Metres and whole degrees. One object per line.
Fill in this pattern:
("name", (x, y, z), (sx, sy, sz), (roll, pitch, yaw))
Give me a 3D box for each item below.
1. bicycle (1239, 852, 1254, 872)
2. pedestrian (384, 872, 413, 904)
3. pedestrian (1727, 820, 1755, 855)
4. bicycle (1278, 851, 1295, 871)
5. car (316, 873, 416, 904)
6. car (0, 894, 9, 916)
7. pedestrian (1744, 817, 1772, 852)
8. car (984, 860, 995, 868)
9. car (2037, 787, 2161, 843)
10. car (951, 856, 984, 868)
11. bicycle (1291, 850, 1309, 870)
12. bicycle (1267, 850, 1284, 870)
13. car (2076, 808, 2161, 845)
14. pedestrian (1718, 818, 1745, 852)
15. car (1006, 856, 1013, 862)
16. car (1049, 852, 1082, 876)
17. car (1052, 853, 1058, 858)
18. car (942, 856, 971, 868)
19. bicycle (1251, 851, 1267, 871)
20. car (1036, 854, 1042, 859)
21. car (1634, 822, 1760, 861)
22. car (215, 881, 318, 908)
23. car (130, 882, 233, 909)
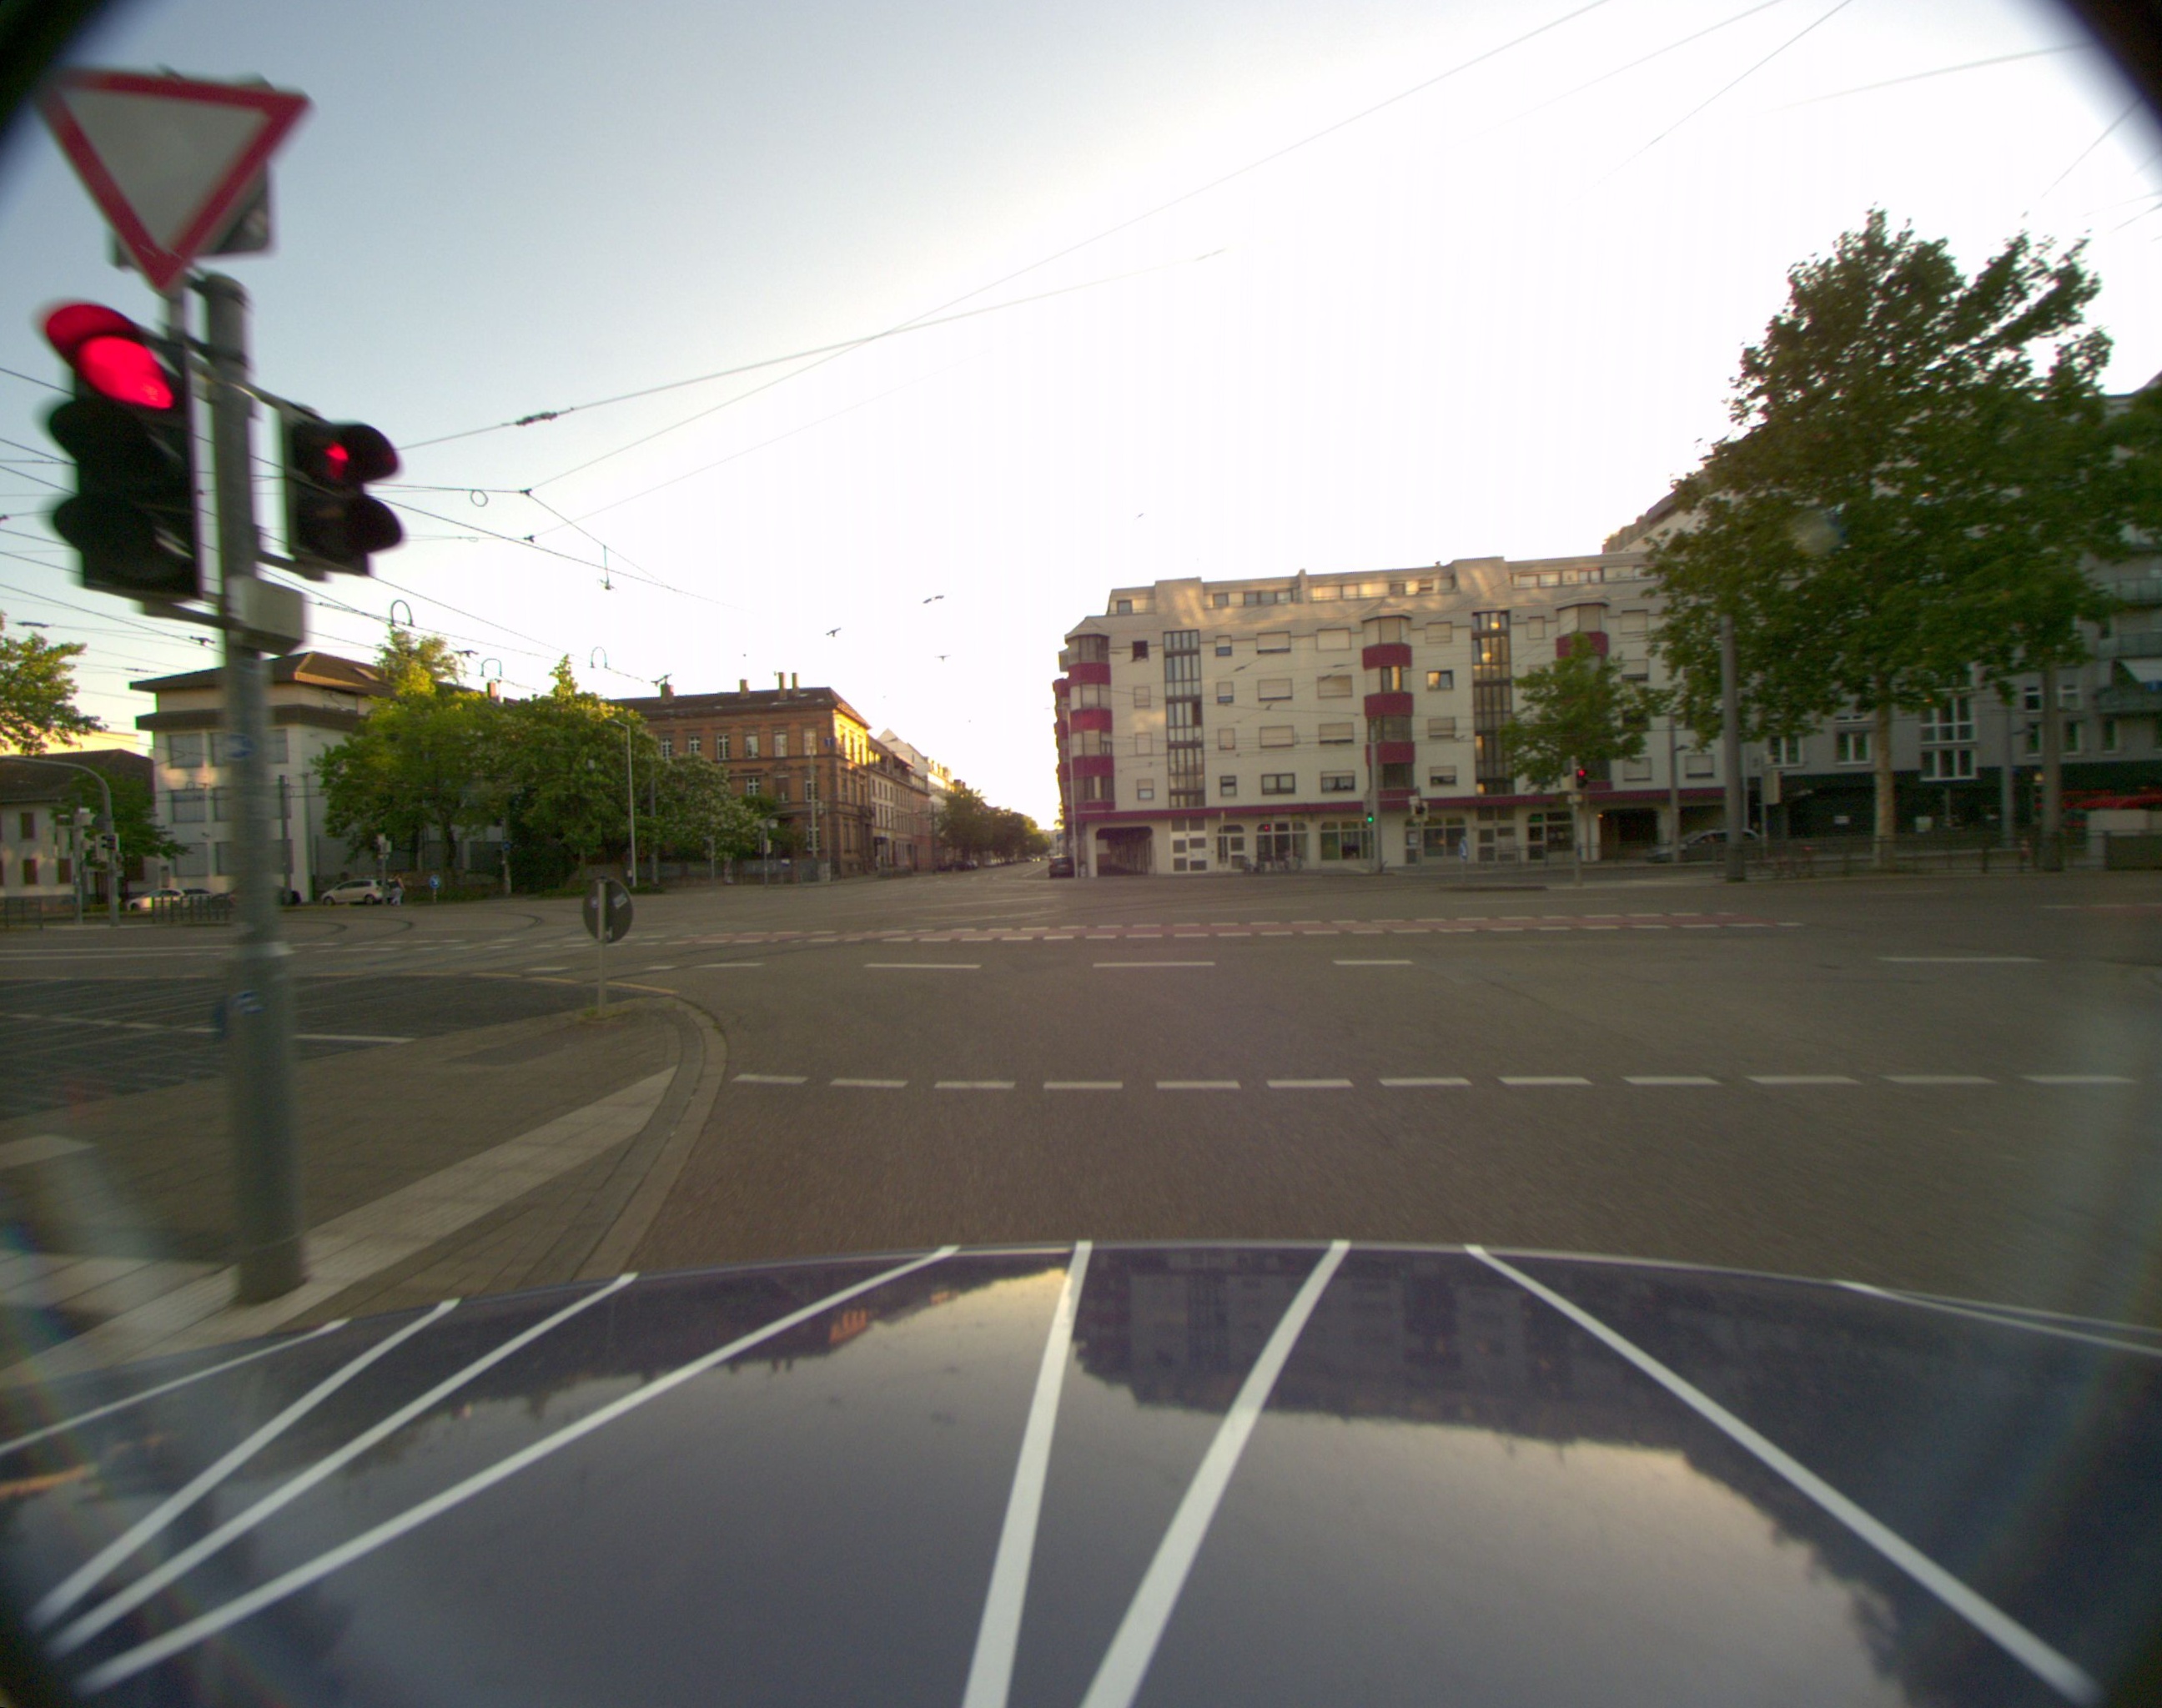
("bicycle", (8.927, 0.395, 41.046), (0.515, 1.040, 1.903), (-2, 0, 4))
("pedestrian", (-33.649, 1.678, 37.476), (0.579, 1.517, 0.818), (-2, 1, 11))
("pedestrian", (34.512, -0.864, 39.738), (0.834, 1.796, 0.692), (-2, 1, 8))
("bicycle", (11.058, 0.354, 40.903), (0.515, 1.040, 1.903), (-2, 0, 4))
("car", (-43.218, 2.074, 45.993), (4.227, 1.623, 2.000), (-2, 0, 4))
("car", (-72.215, 3.390, 48.748), (4.227, 1.416, 2.001), (-2, 0, 4))
("pedestrian", (35.699, -1.037, 40.051), (0.834, 1.796, 0.692), (-2, 1, 8))
("car", (-16.665, 1.790, 138.163), (1.786, 1.448, 4.295), (-2, 0, -5))
("car", (50.147, -1.879, 36.698), (5.075, 2.526, 1.852), (-2, 1, 8))
("car", (-16.986, 1.183, 113.958), (4.704, 1.477, 1.906), (-2, 0, -5))
("bicycle", (11.685, 0.301, 40.595), (0.515, 1.040, 1.903), (-2, 0, 4))
("bicycle", (10.464, 0.321, 40.997), (0.515, 1.040, 1.903), (-2, 0, 4))
("car", (48.691, -1.260, 34.616), (4.097, 1.587, 1.667), (-2, 0, 7))
("pedestrian", (34.723, -1.002, 40.551), (0.834, 1.796, 0.692), (-2, 1, 8))
("car", (-17.278, 1.226, 183.686), (1.786, 1.427, 4.295), (-2, 0, -5))
("car", (-1.018, 0.651, 52.226), (2.006, 1.448, 4.297), (-2, 0, 2))
("car", (-8.003, 0.312, 231.486), (1.786, 1.448, 4.296), (-2, 0, -3))
("car", (-17.393, 1.137, 106.319), (3.773, 1.477, 1.906), (-2, 0, -5))
("bicycle", (9.574, 0.366, 41.008), (0.515, 1.040, 1.903), (-2, 0, 4))
("car", (-13.165, 0.812, 237.020), (1.786, 1.448, 4.296), (-2, 0, -2))
("car", (27.533, -0.549, 34.076), (4.097, 1.587, 1.667), (-2, 0, 7))
("car", (-50.156, 2.484, 46.845), (4.355, 1.416, 2.001), (-2, 0, 4))
("car", (-55.765, 2.560, 47.153), (4.227, 1.416, 2.001), (-2, 0, 4))
